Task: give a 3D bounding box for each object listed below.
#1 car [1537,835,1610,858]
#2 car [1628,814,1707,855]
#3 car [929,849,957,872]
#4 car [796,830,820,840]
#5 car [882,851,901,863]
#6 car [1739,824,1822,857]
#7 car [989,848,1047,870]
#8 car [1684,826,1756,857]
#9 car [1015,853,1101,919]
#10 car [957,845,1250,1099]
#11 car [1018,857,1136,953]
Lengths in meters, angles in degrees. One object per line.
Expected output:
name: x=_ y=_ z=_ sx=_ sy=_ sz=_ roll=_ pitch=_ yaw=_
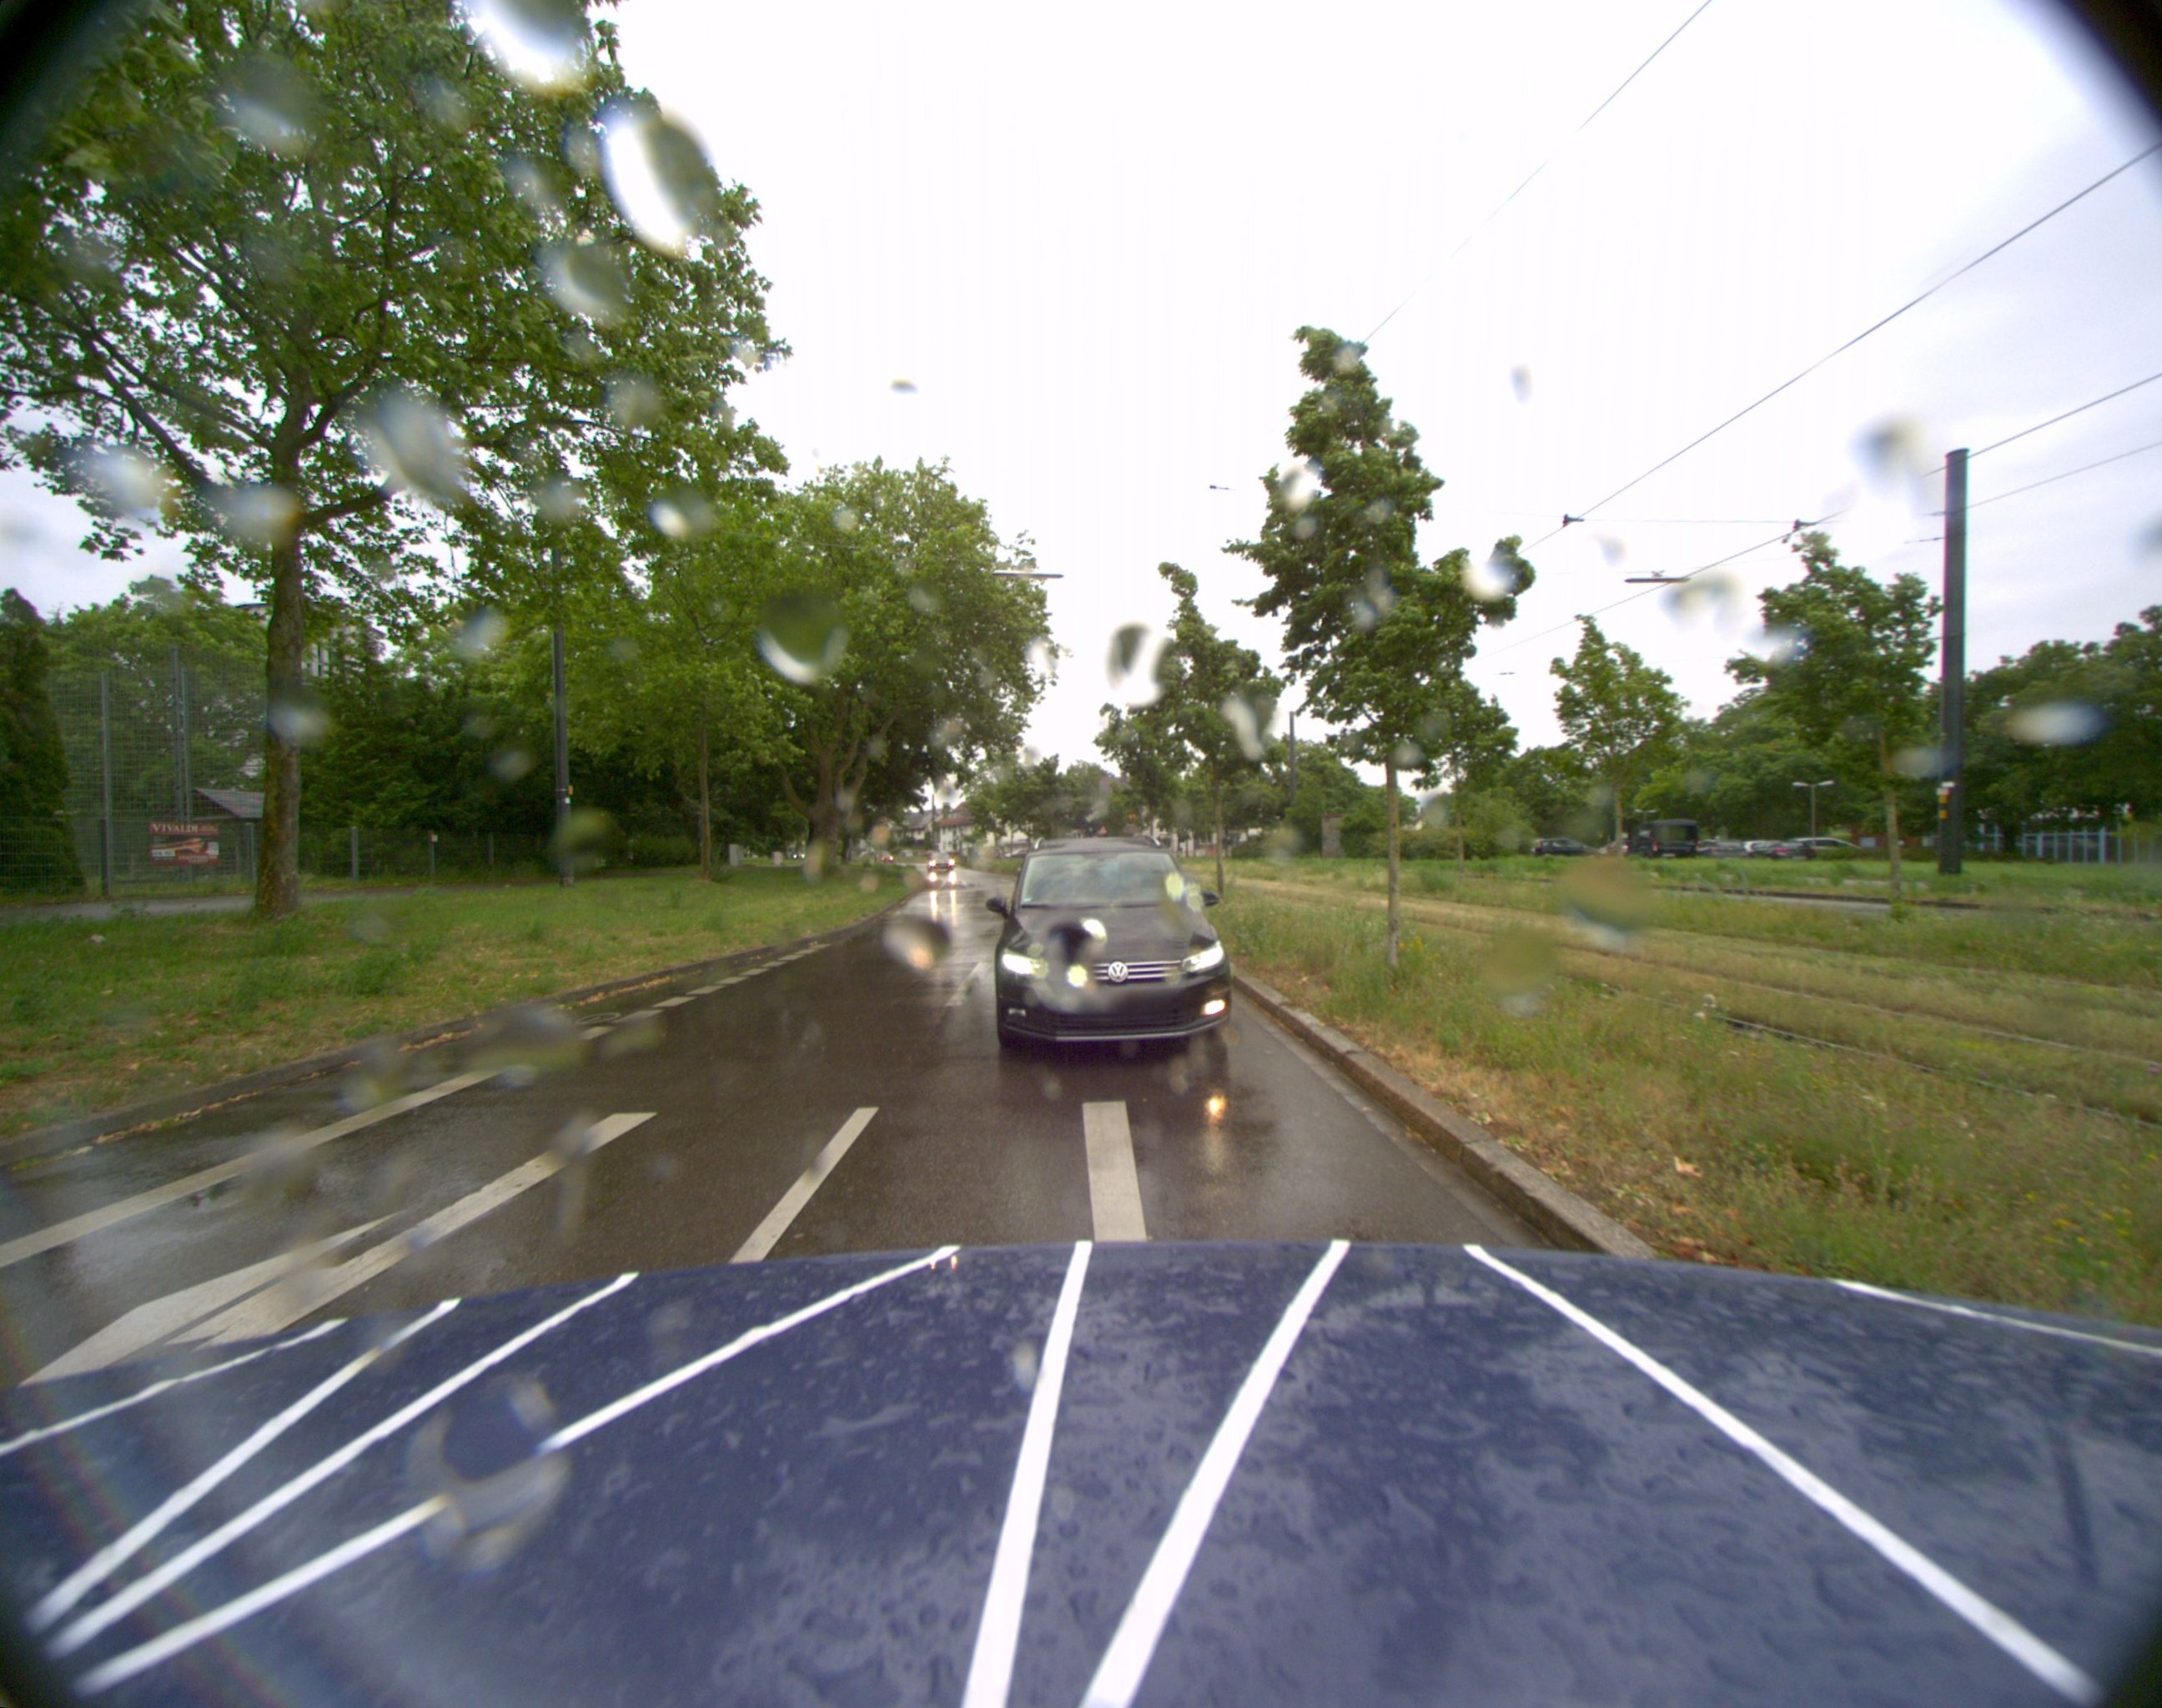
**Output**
car: x=34.784 y=-0.522 z=53.813 sx=4.172 sy=1.474 sz=1.786 roll=-2 pitch=1 yaw=27
car: x=32.004 y=-1.062 z=41.641 sx=2.307 sy=2.002 sz=5.125 roll=-2 pitch=1 yaw=24
car: x=-10.651 y=0.490 z=58.601 sx=1.874 sy=1.609 sz=3.804 roll=-2 pitch=1 yaw=-13
car: x=-51.985 y=-3.569 z=144.723 sx=4.004 sy=1.816 sz=1.996 roll=-3 pitch=1 yaw=-24
car: x=-23.373 y=0.381 z=93.634 sx=1.791 sy=1.373 sz=3.858 roll=-3 pitch=1 yaw=-19
car: x=36.740 y=-0.752 z=40.058 sx=2.057 sy=1.564 sz=5.024 roll=-2 pitch=1 yaw=29
car: x=-4.635 y=0.329 z=55.529 sx=4.046 sy=1.412 sz=1.674 roll=-2 pitch=1 yaw=-10
car: x=34.645 y=-0.692 z=41.326 sx=1.752 sy=1.522 sz=4.856 roll=-2 pitch=1 yaw=24
car: x=-0.679 y=0.715 z=19.065 sx=1.789 sy=1.396 sz=3.791 roll=-2 pitch=1 yaw=-6
car: x=0.174 y=0.750 z=7.254 sx=1.866 sy=1.592 sz=4.524 roll=-2 pitch=1 yaw=1
car: x=-0.128 y=0.805 z=13.831 sx=1.788 sy=1.355 sz=3.996 roll=-2 pitch=1 yaw=-2
